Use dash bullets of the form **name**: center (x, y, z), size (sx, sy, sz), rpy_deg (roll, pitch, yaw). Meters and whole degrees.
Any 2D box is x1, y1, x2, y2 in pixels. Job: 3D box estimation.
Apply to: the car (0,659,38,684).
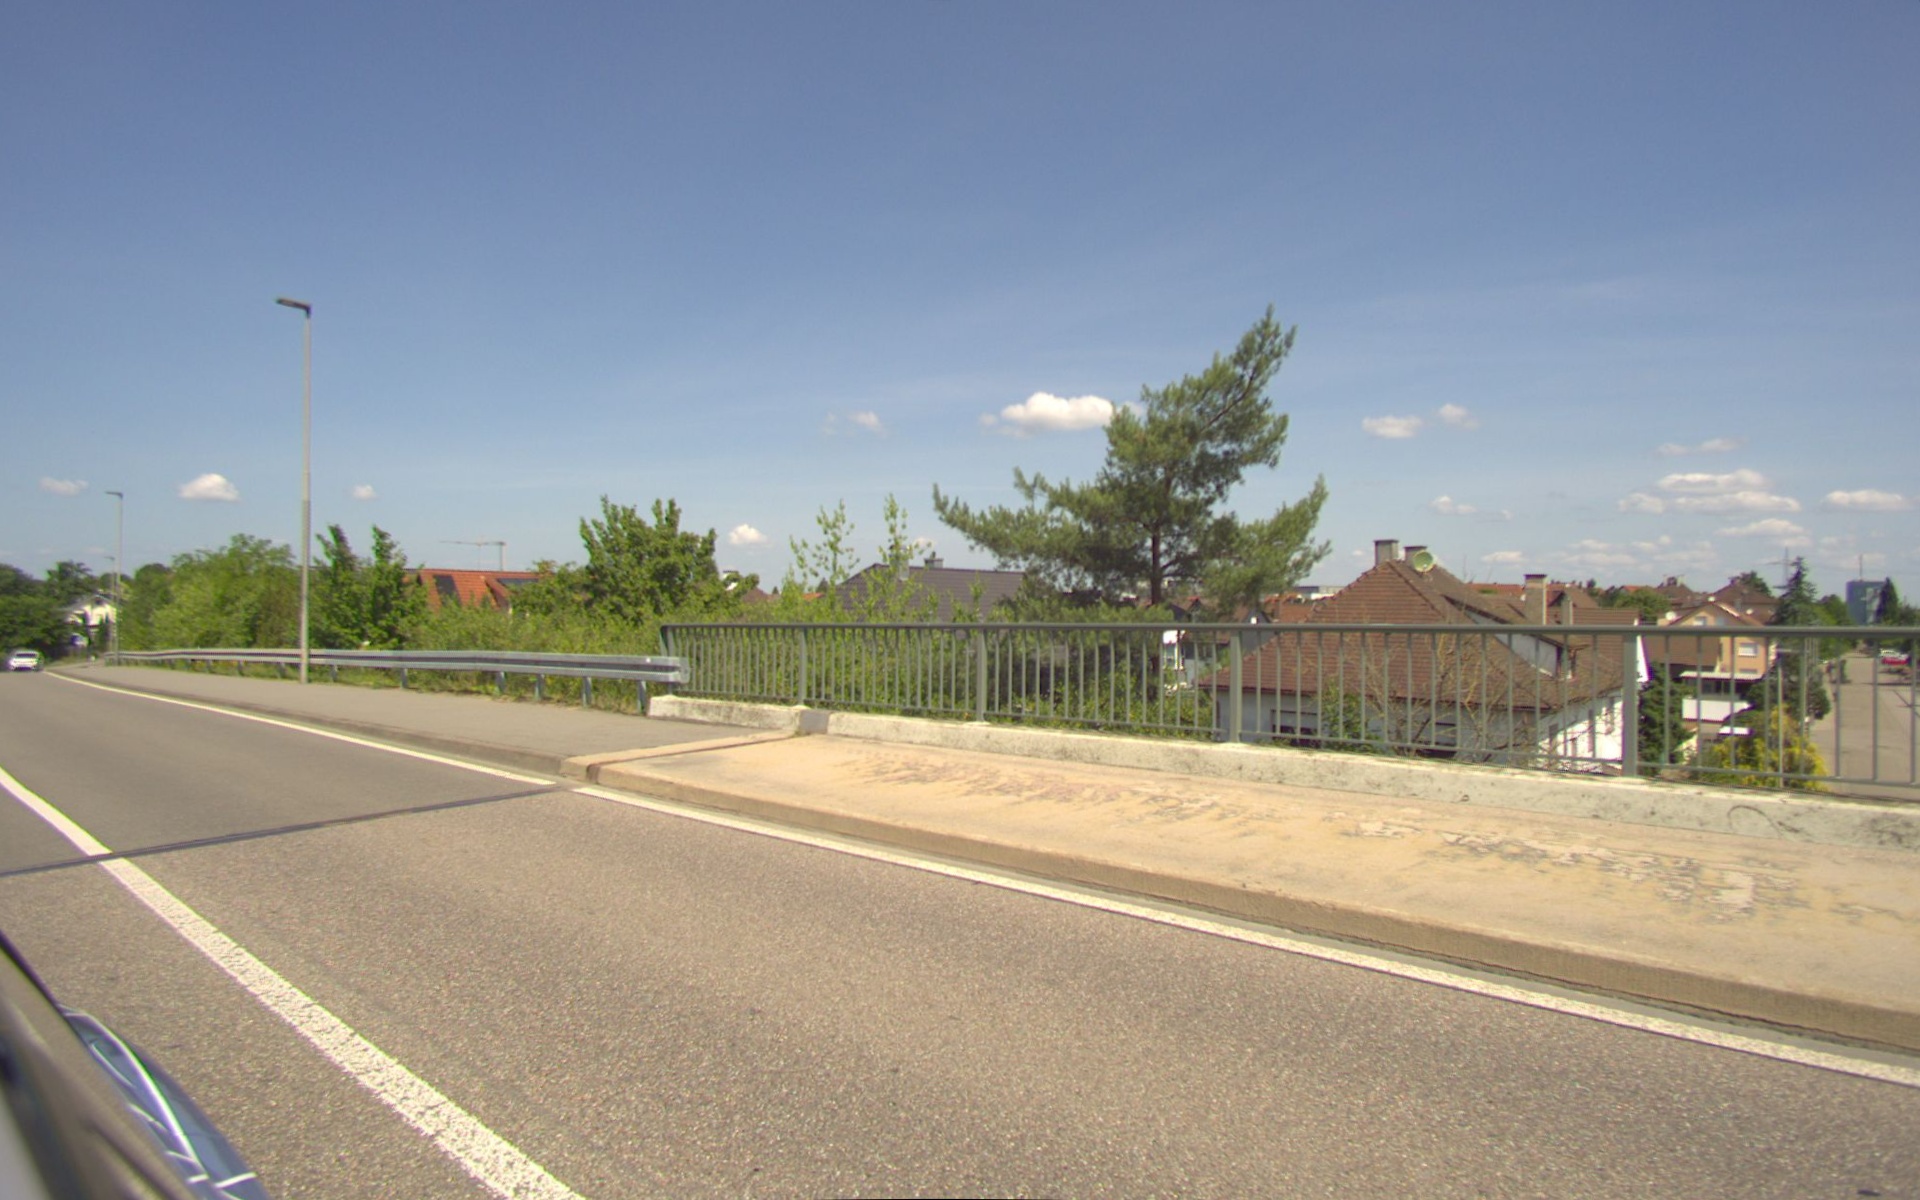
- **car**: center (-80.637, 6.110, 86.720), size (4.283, 1.774, 2.065), rpy_deg (1, 1, 43)
